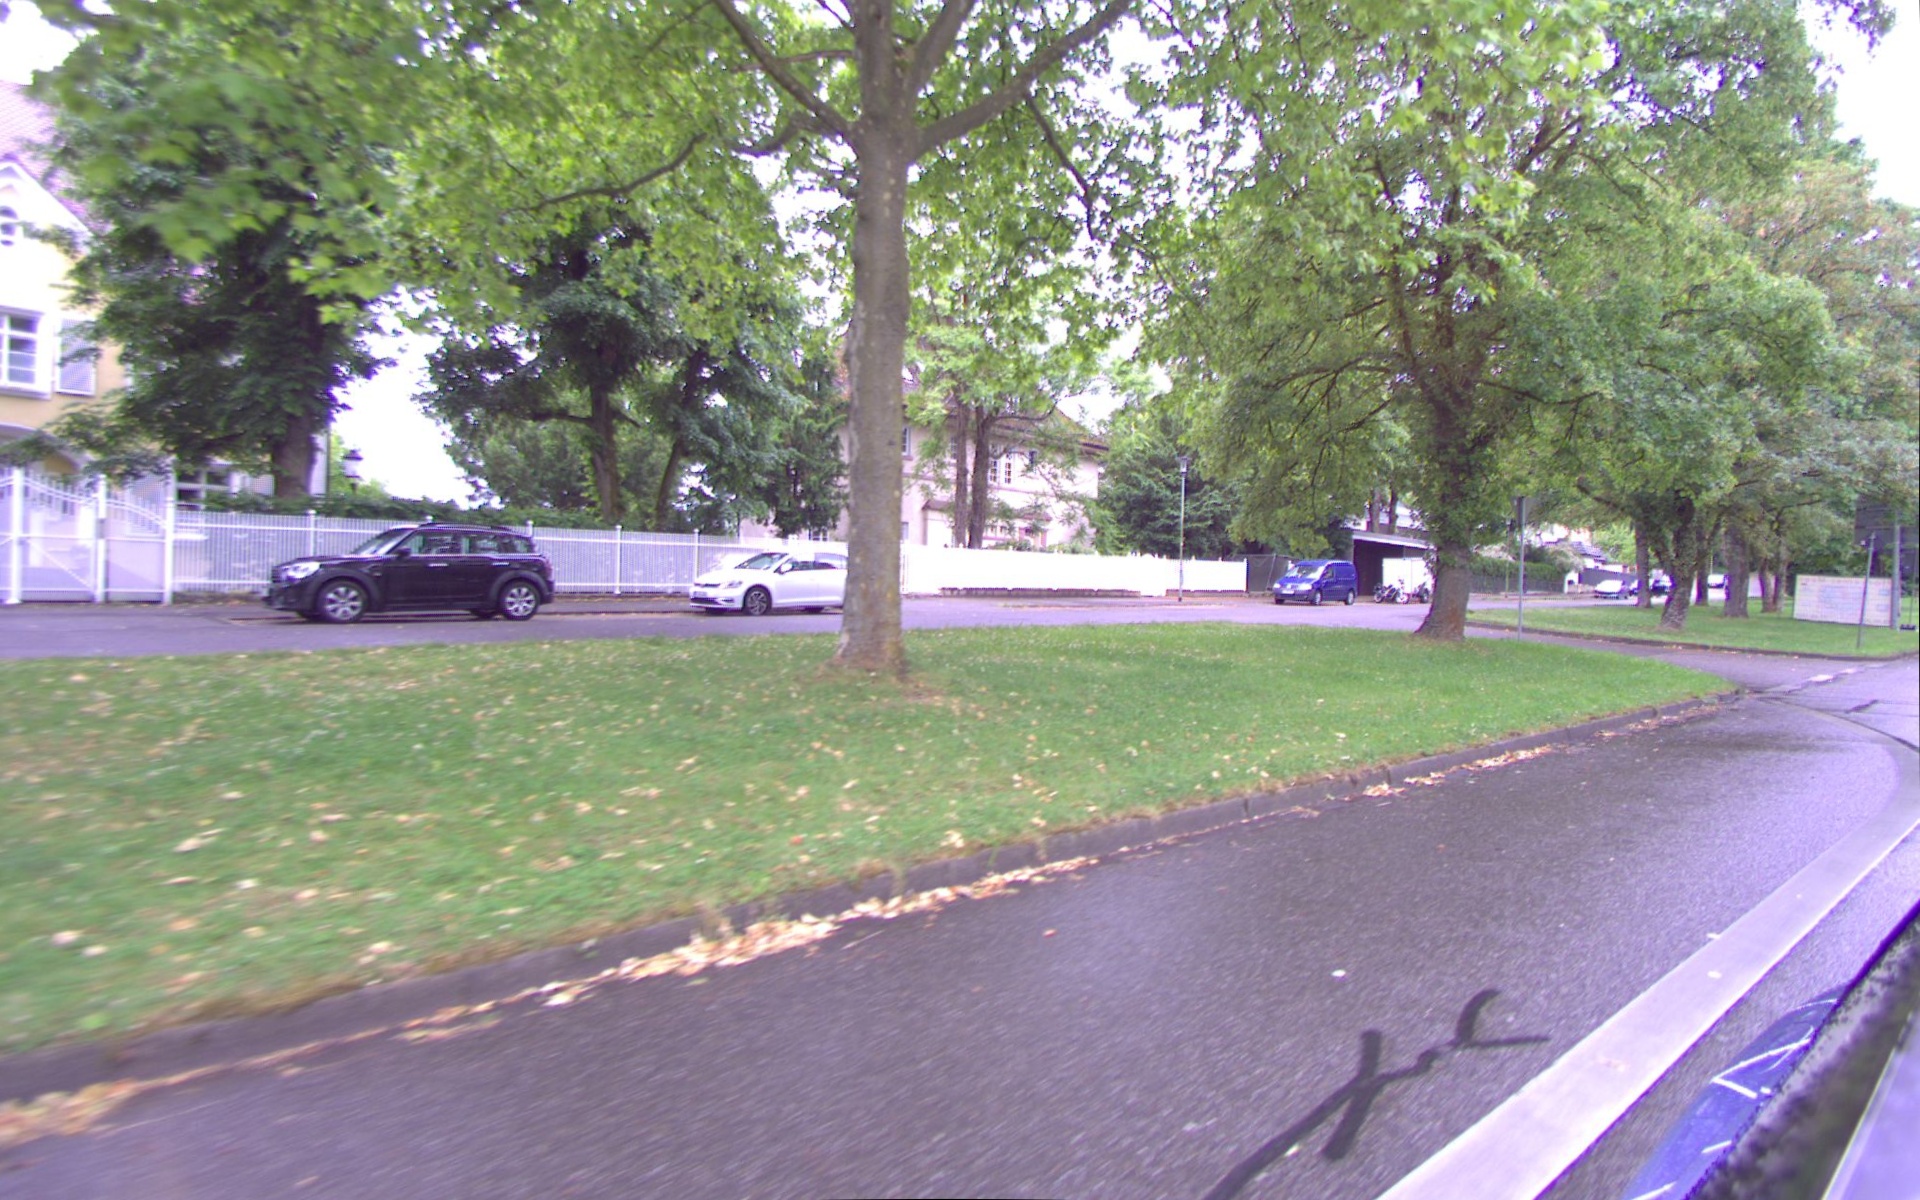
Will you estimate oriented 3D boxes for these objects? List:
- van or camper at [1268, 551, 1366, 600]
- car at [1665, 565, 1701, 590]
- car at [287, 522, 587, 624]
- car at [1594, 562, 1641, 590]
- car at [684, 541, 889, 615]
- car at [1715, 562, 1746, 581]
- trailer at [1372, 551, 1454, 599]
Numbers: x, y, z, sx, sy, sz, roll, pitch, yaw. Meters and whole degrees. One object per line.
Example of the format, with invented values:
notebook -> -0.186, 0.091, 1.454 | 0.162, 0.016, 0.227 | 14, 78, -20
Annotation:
van or camper -> 14.348, -0.955, 40.548 | 1.993, 1.831, 4.702 | 0, 1, 43
car -> 66.877, -2.088, 93.615 | 3.933, 2.039, 1.996 | 2, 1, -44
car -> -8.631, -0.428, 16.917 | 1.994, 1.489, 4.059 | 0, 1, 44
car -> 49.900, -1.794, 76.762 | 3.932, 2.038, 1.997 | -1, 3, -42
car -> -3.733, -0.469, 22.249 | 1.994, 1.467, 4.059 | 0, 1, 44
car -> 83.670, -3.095, 109.867 | 3.934, 2.038, 1.996 | -1, 3, -44
trailer -> 21.142, -1.136, 47.100 | 5.108, 2.143, 1.767 | -1, 1, -45
